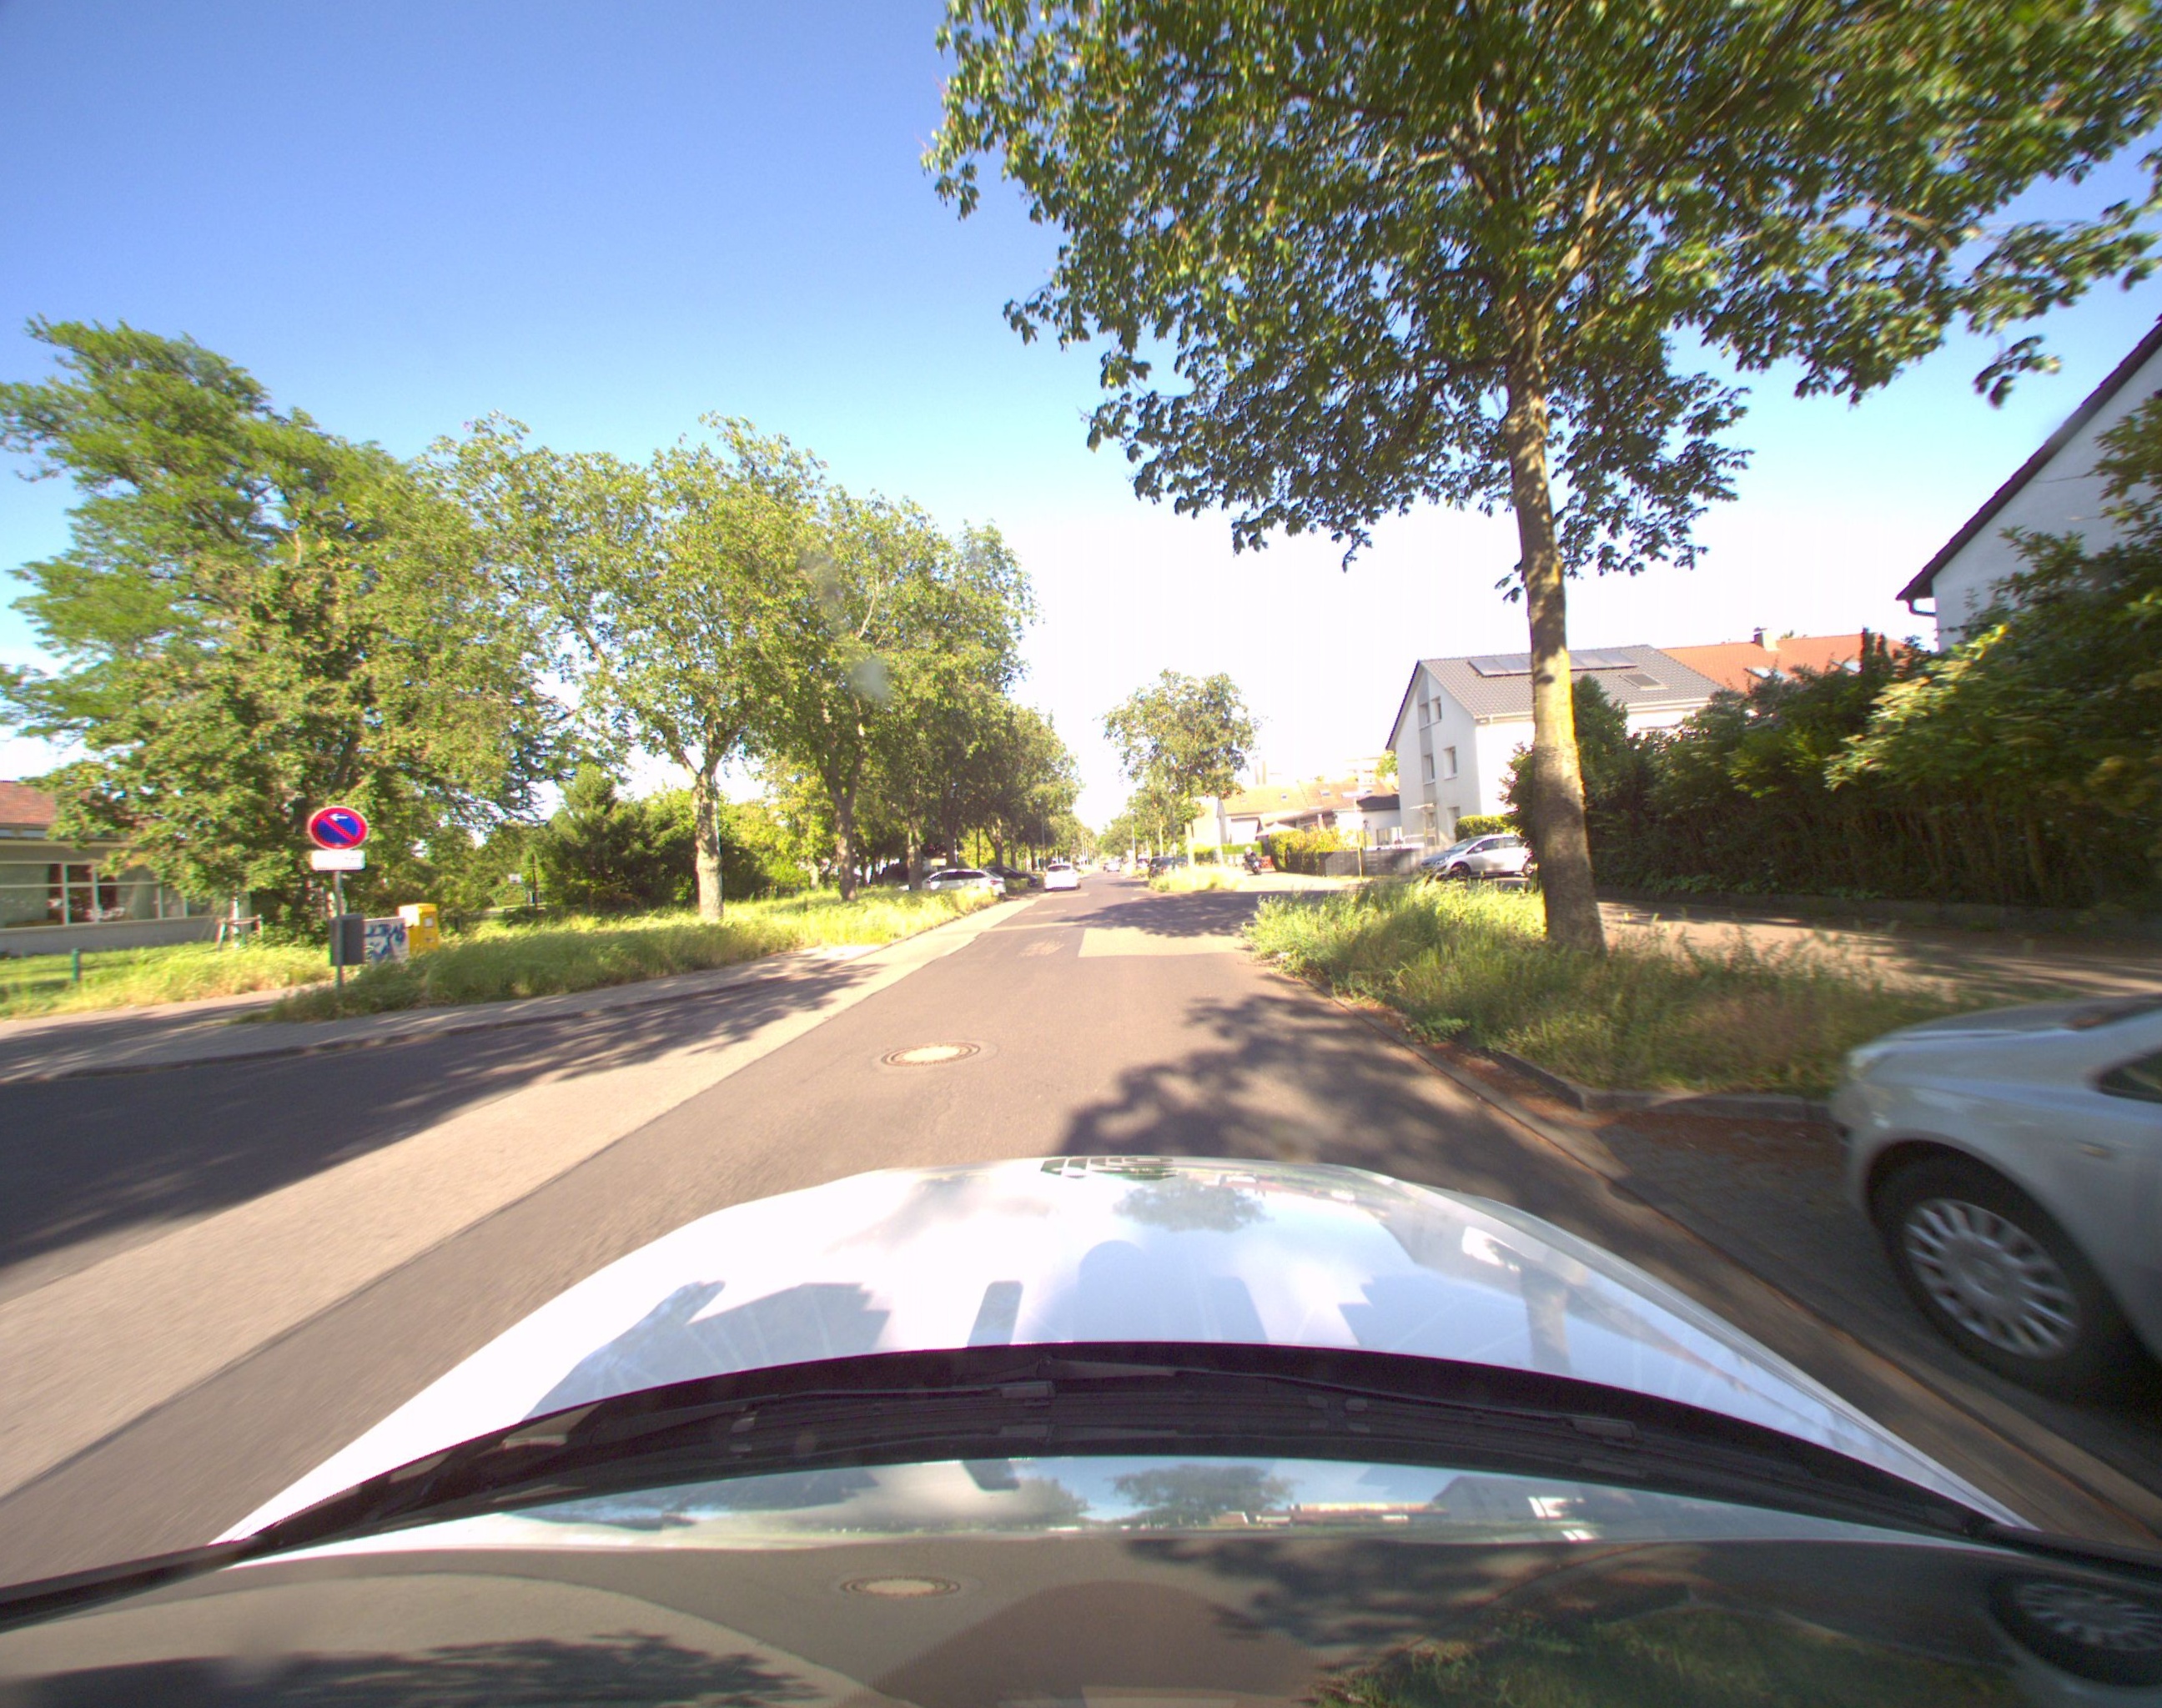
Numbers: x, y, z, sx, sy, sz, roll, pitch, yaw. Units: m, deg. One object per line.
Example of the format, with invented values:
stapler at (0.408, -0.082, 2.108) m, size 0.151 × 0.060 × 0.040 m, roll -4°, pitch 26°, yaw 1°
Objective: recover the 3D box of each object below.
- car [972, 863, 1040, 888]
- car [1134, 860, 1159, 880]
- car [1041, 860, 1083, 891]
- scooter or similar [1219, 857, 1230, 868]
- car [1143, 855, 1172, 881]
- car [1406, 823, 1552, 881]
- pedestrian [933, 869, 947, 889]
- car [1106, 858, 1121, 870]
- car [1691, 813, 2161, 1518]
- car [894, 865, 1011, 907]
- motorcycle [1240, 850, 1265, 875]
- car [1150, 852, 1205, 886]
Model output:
car at (-5.018, 1.456, 55.176) m, size 4.352 × 1.531 × 1.807 m, roll -2°, pitch -1°, yaw 0°
car at (6.412, 1.569, 80.076) m, size 1.988 × 1.728 × 3.998 m, roll -5°, pitch -1°, yaw -1°
car at (-0.992, 1.123, 44.348) m, size 1.986 × 1.455 × 4.225 m, roll -3°, pitch 0°, yaw 1°
scooter or similar at (11.972, 0.701, 68.126) m, size 0.368 × 0.858 × 1.406 m, roll -3°, pitch -1°, yaw -11°
car at (4.960, 0.916, 53.209) m, size 1.604 × 1.622 × 4.384 m, roll -1°, pitch -1°, yaw 2°
car at (13.286, -0.061, 27.291) m, size 3.980 × 1.640 × 1.773 m, roll -4°, pitch 0°, yaw -5°
pedestrian at (-13.644, 2.411, 78.791) m, size 1.227 × 1.827 × 1.543 m, roll -2°, pitch -2°, yaw -15°
car at (4.357, 1.379, 110.639) m, size 1.986 × 1.508 × 3.659 m, roll -1°, pitch -1°, yaw 2°
car at (3.231, 0.626, 1.207) m, size 1.982 × 1.510 × 4.010 m, roll -5°, pitch -1°, yaw 9°
car at (-5.540, 1.360, 35.505) m, size 4.652 × 1.503 × 2.002 m, roll -3°, pitch -1°, yaw 3°
motorcycle at (9.141, 0.449, 43.429) m, size 0.815 × 1.227 × 2.352 m, roll -5°, pitch 0°, yaw 1°
car at (4.823, 0.744, 41.408) m, size 1.990 × 1.622 × 4.375 m, roll -1°, pitch -1°, yaw -4°
